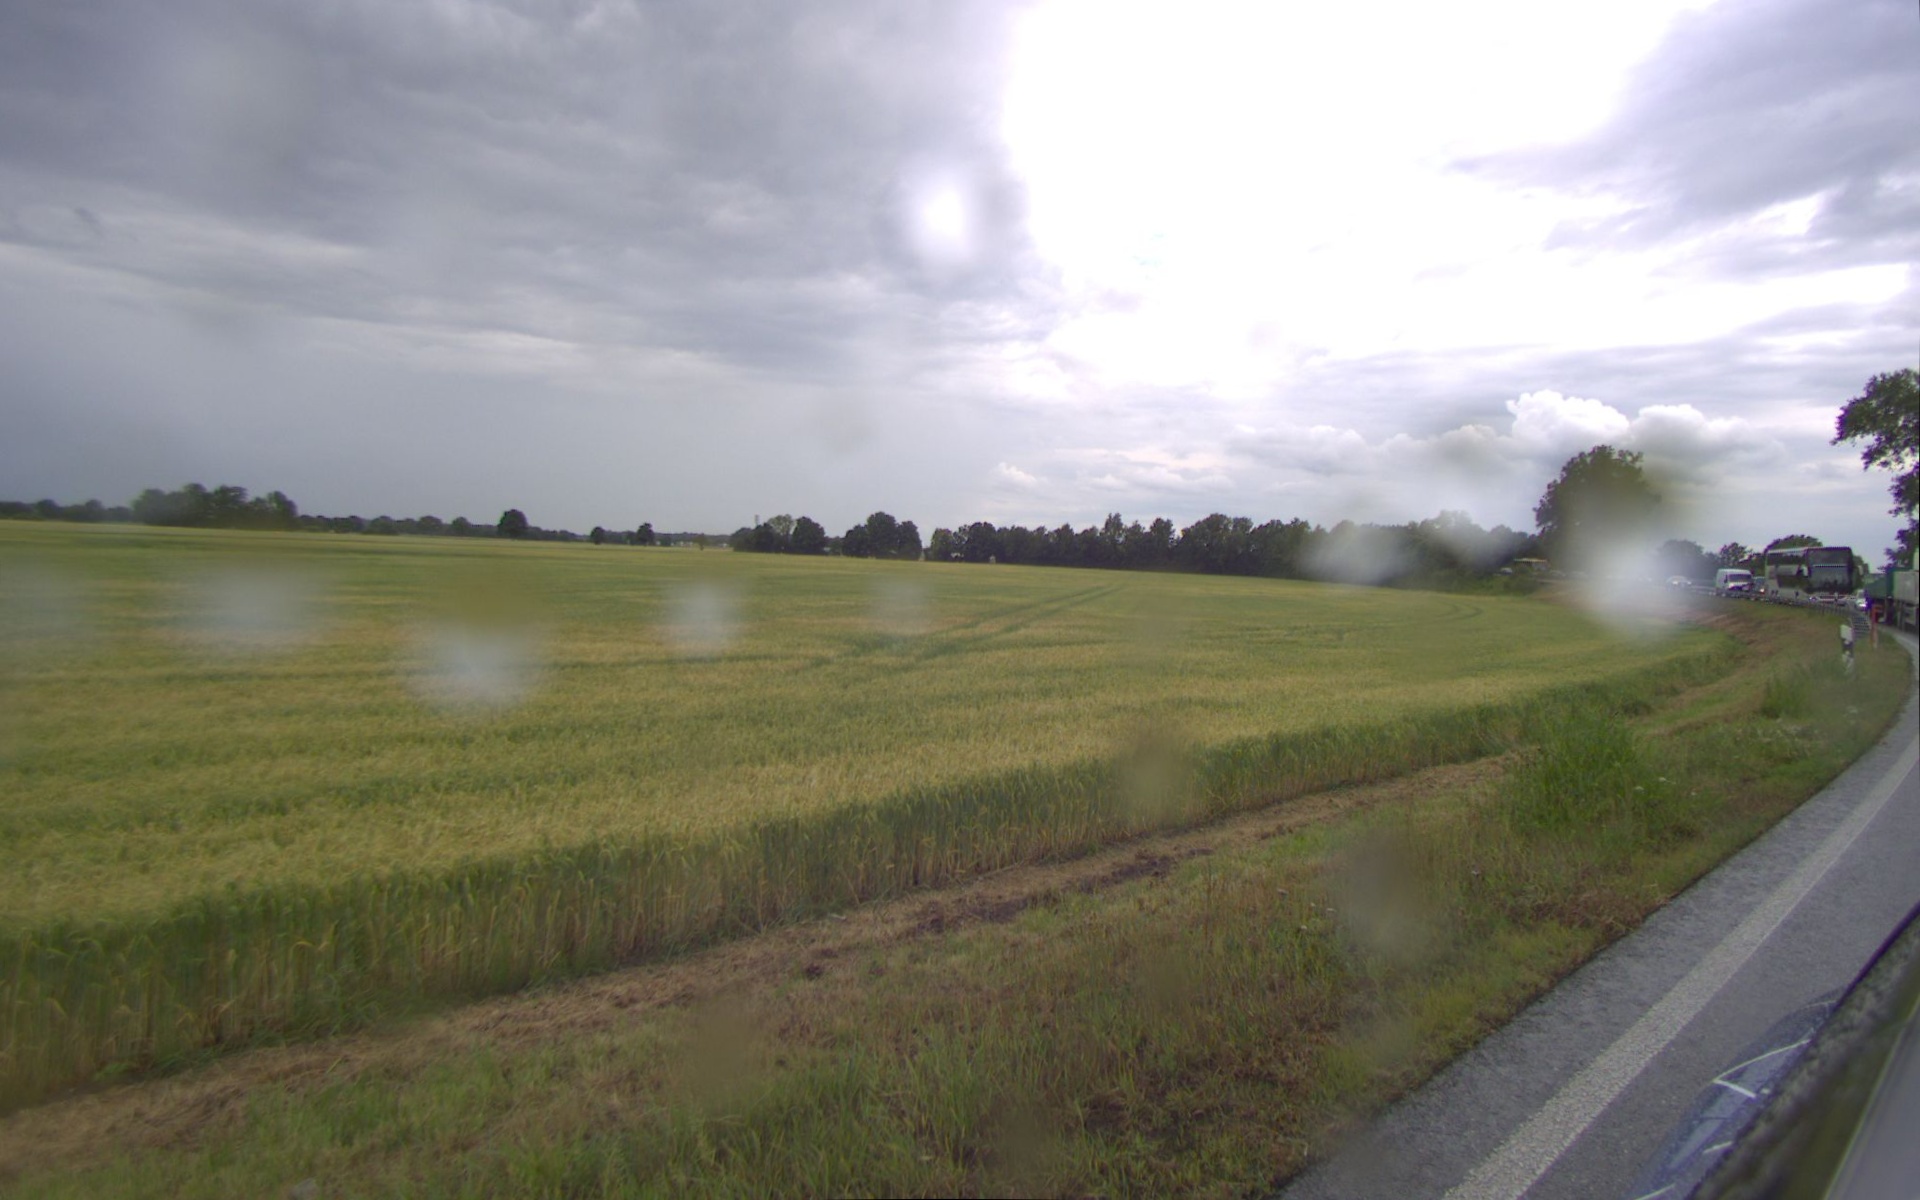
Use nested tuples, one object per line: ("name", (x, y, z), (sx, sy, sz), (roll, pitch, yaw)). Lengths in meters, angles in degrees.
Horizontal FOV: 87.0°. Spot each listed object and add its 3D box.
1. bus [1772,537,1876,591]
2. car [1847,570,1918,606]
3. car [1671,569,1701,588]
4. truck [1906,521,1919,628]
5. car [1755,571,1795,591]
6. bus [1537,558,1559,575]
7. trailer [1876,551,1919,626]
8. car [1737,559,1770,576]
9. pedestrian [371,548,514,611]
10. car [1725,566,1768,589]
("bus", (59.845, -2.580, 70.504), (2.941, 3.353, 14.682), (0, 2, 30))
("car", (49.716, -0.677, 54.653), (2.029, 1.865, 5.273), (0, 1, 34))
("car", (83.191, -2.467, 116.047), (1.979, 2.039, 4.197), (0, 1, 25))
("truck", (34.553, -0.895, 34.443), (2.971, 3.655, 5.996), (0, 1, 39))
("car", (66.572, -1.557, 82.726), (1.798, 1.597, 3.961), (0, 1, 28))
("bus", (110.594, -6.278, 190.307), (1.973, 2.951, 6.973), (-1, 1, 17))
("trailer", (39.800, -0.637, 41.016), (2.970, 2.665, 15.465), (0, 2, 39))
("car", (98.341, -4.024, 125.500), (1.974, 2.039, 4.096), (-1, 1, 19))
("pedestrian", (-17.867, -0.718, 35.094), (1.988, 2.039, 3.948), (0, 1, 37))
("car", (72.041, -2.102, 92.780), (1.979, 2.039, 5.290), (0, 1, 25))
